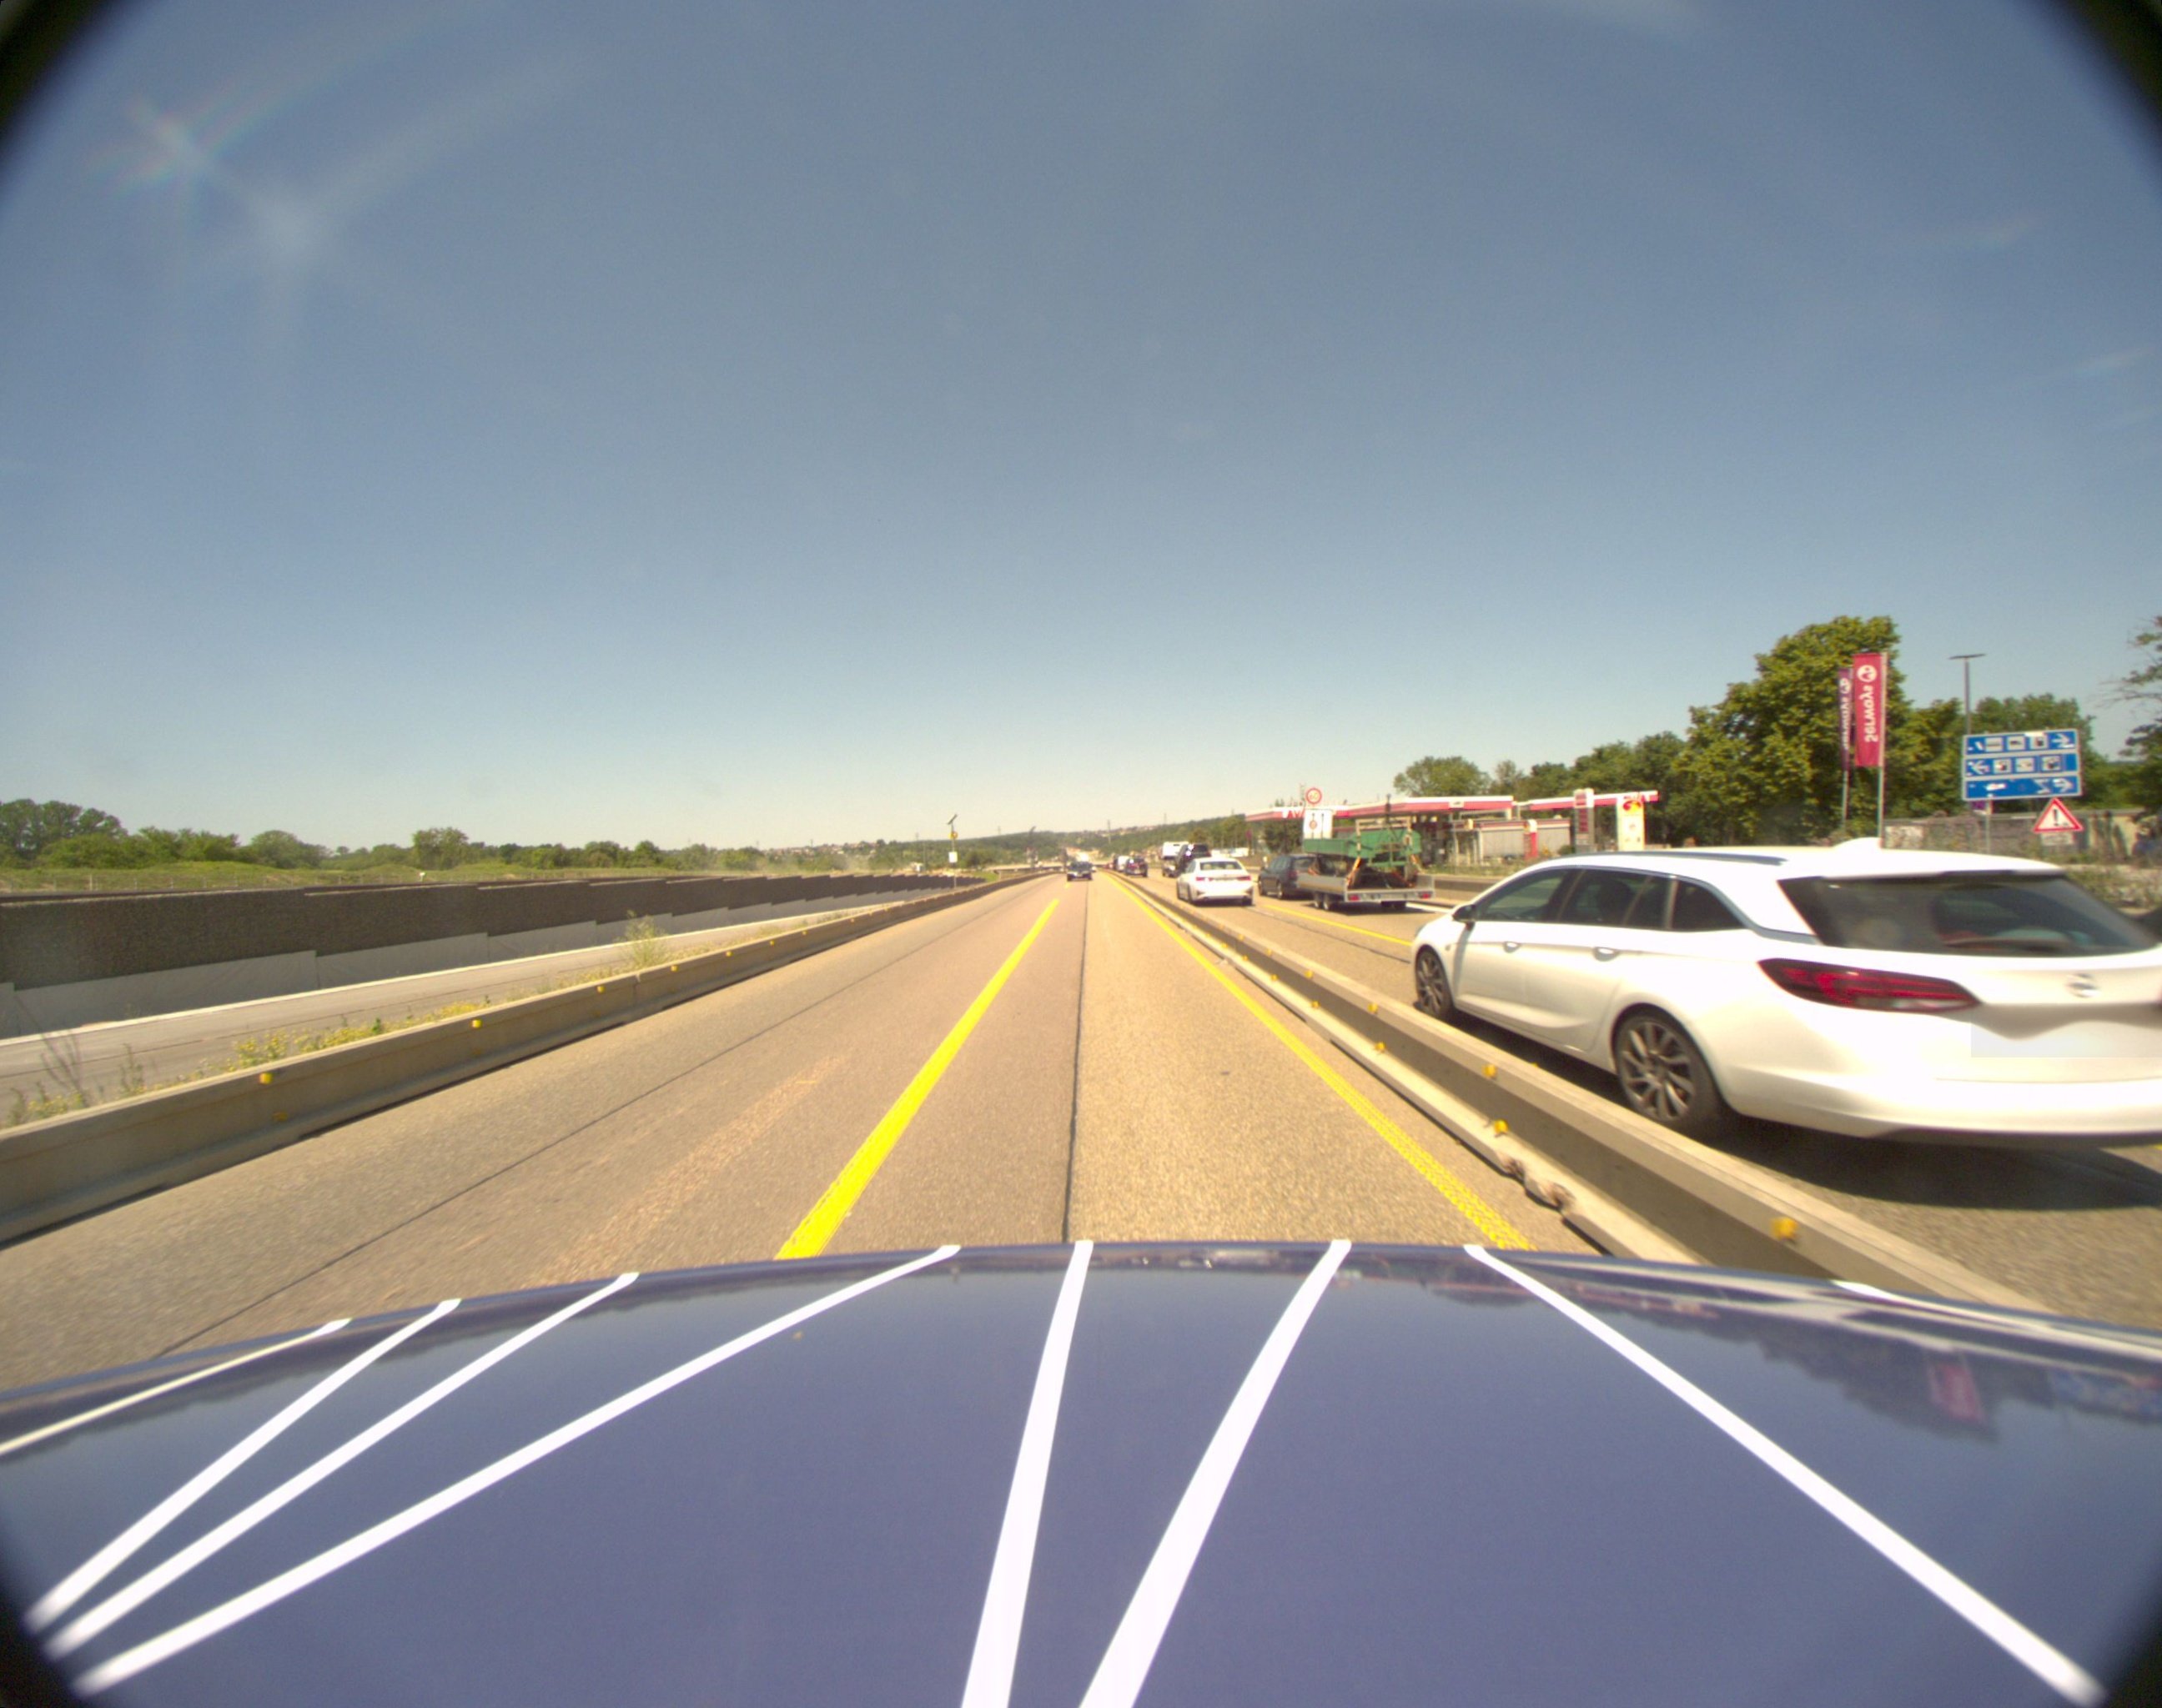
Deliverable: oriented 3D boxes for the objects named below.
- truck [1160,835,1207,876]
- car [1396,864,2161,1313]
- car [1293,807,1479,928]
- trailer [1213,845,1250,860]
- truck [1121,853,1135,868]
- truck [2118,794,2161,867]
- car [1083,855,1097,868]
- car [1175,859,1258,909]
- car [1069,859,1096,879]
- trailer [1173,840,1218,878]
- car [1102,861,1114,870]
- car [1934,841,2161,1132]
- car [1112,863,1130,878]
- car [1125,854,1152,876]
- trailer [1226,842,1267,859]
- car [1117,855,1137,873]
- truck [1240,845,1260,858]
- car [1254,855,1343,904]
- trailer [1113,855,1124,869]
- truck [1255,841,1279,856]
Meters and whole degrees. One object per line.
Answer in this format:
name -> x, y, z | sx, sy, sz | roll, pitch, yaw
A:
truck -> 7.650, 0.128, 57.673 | 2.486, 2.807, 8.129 | -2, 0, 1
car -> 3.782, 0.825, 4.825 | 1.738, 1.470, 4.520 | 0, 0, 1
car -> 7.028, 0.277, 18.488 | 1.919, 2.385, 6.452 | -2, 0, 0
trailer -> 50.310, -0.467, 254.401 | 2.625, 3.761, 12.722 | -4, -1, -45
truck -> 9.080, 1.230, 146.433 | 2.245, 2.769, 6.493 | -2, -1, 0
truck -> 45.879, -0.990, 29.826 | 2.821, 3.045, 7.133 | -1, 0, 23
car -> 1.317, 1.090, 109.884 | 1.818, 1.652, 4.000 | -5, 0, -1
car -> 4.043, 0.862, 23.354 | 1.821, 1.368, 4.247 | 0, 0, 0
car -> 0.123, 1.091, 54.580 | 1.810, 1.299, 4.001 | -1, -1, 2
trailer -> 7.561, 0.342, 50.803 | 2.187, 2.300, 5.614 | -2, -1, 1
car -> 4.567, 1.965, 130.479 | 1.860, 1.594, 4.736 | -2, -1, 0
car -> 6.852, 0.745, 3.313 | 1.771, 1.588, 3.999 | -1, 1, 0
car -> 5.115, 2.072, 97.573 | 1.912, 1.794, 5.082 | -2, -1, 0
car -> 4.542, 0.885, 60.816 | 1.909, 1.599, 4.001 | -2, -1, 1
trailer -> 49.803, -0.985, 229.390 | 2.865, 4.141, 12.349 | -4, -1, -45
car -> 4.959, 1.105, 81.757 | 1.858, 1.828, 4.591 | -2, -1, 0
truck -> 55.413, -0.898, 249.416 | 5.724, 3.596, 2.585 | -6, -1, 42
car -> 7.112, 0.791, 25.268 | 1.691, 1.444, 4.336 | -1, -1, 0
trailer -> 11.613, 2.651, 235.752 | 3.014, 4.173, 13.855 | -2, -1, 2
truck -> 54.877, -1.697, 224.204 | 2.838, 3.727, 6.132 | -4, -1, -45
